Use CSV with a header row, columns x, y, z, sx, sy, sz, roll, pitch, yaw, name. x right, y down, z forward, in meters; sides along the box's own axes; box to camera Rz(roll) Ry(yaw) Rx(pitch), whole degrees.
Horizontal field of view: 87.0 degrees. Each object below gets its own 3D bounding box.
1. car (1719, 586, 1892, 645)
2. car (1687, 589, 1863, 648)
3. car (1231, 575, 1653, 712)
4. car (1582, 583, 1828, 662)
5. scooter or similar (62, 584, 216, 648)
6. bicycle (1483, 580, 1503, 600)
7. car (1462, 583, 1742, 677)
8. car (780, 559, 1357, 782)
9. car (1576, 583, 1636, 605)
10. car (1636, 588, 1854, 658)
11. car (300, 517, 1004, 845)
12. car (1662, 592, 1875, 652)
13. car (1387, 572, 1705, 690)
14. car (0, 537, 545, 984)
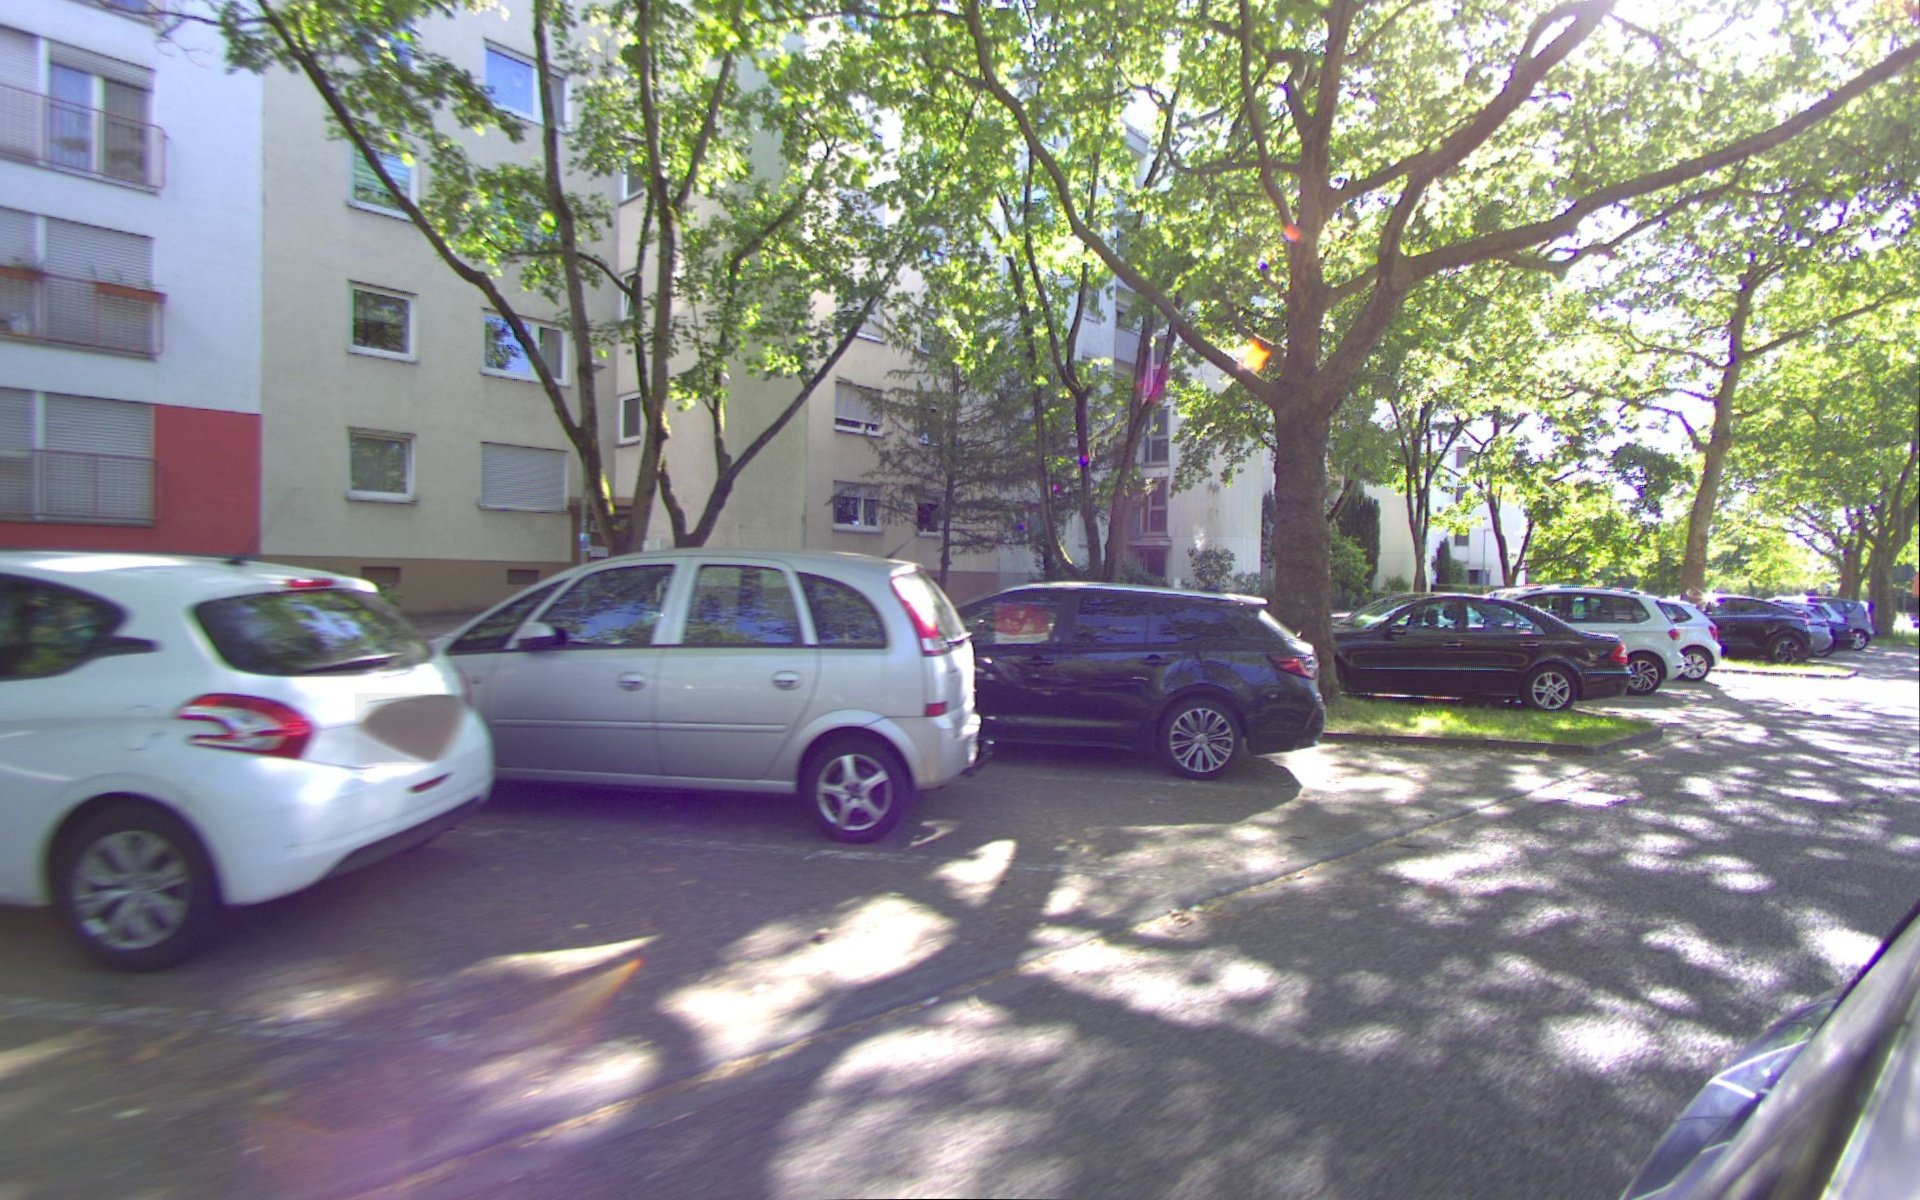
x,y,z,sx,sy,sz,roll,pitch,yaw,name
26.403,0.440,31.731,3.664,1.612,1.796,2,2,8,car
23.866,0.508,29.760,3.523,1.510,1.797,2,2,7,car
6.011,0.494,13.092,4.507,1.440,1.799,2,2,4,car
16.725,0.468,22.889,4.100,1.529,1.800,2,2,2,car
-10.431,0.178,12.907,0.695,0.702,1.370,3,3,24,scooter or similar
30.576,-0.561,58.019,0.499,1.120,1.773,8,5,41,bicycle
11.787,0.502,18.836,3.933,1.462,1.797,2,2,8,car
0.865,0.459,8.691,4.338,1.445,1.947,3,3,10,car
66.832,-0.633,104.784,2.048,2.112,5.205,-1,2,-13,car
19.351,0.531,25.092,3.819,1.463,1.798,2,2,5,car
-1.762,0.380,6.514,3.931,1.609,1.798,3,3,6,car
21.791,0.561,27.435,4.078,1.334,1.796,2,2,9,car
9.181,0.427,16.187,3.934,1.595,1.796,2,2,9,car
-4.188,0.469,4.492,3.928,1.436,1.831,3,3,4,car
